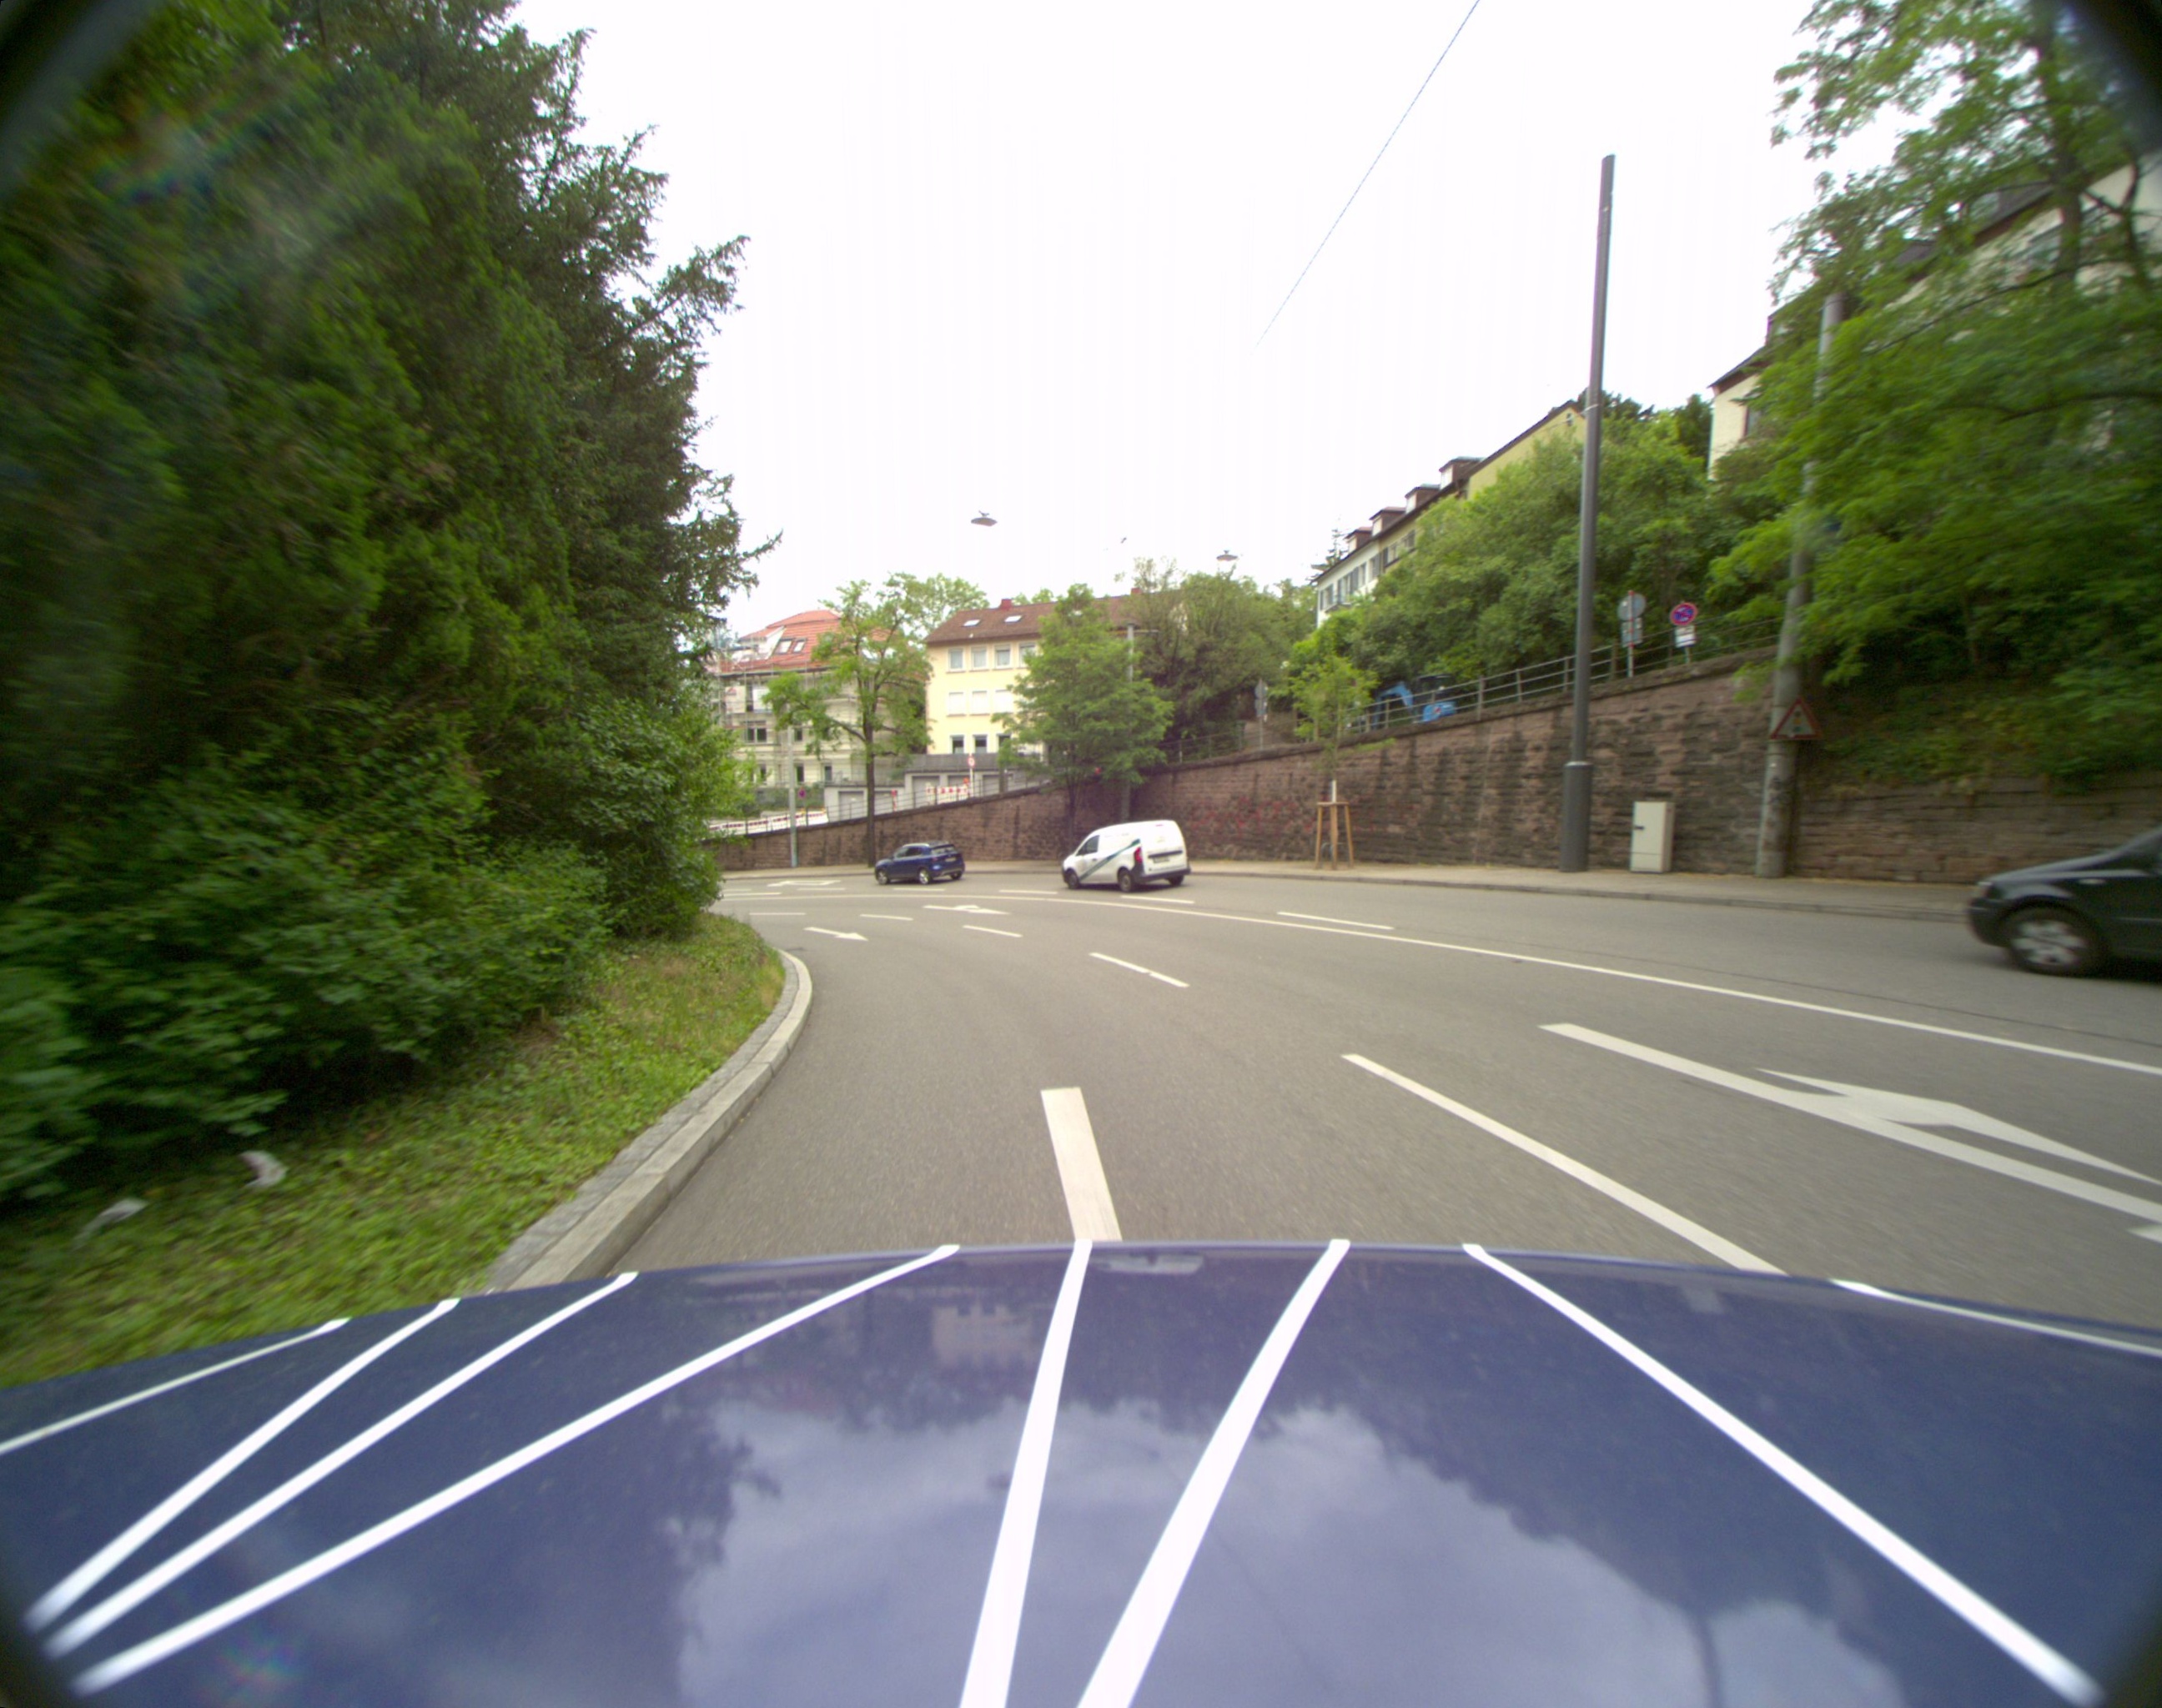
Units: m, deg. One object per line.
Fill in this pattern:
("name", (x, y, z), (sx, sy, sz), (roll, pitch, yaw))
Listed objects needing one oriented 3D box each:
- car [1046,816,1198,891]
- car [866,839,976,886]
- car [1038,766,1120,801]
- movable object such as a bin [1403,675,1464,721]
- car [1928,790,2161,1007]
("car", (1.023, -0.003, 21.782), (1.829, 1.755, 4.658), (-8, 4, -32))
("car", (-6.377, 0.345, 30.148), (4.190, 1.520, 1.734), (-3, 6, 36))
("car", (-0.143, -3.798, 41.172), (4.053, 1.632, 1.777), (0, 6, 33))
("movable object such as a bin", (13.097, -5.777, 28.268), (1.254, 1.348, 1.601), (-5, 2, -31))
("car", (8.402, 0.292, 4.938), (1.510, 1.516, 3.657), (-3, 2, -7))
